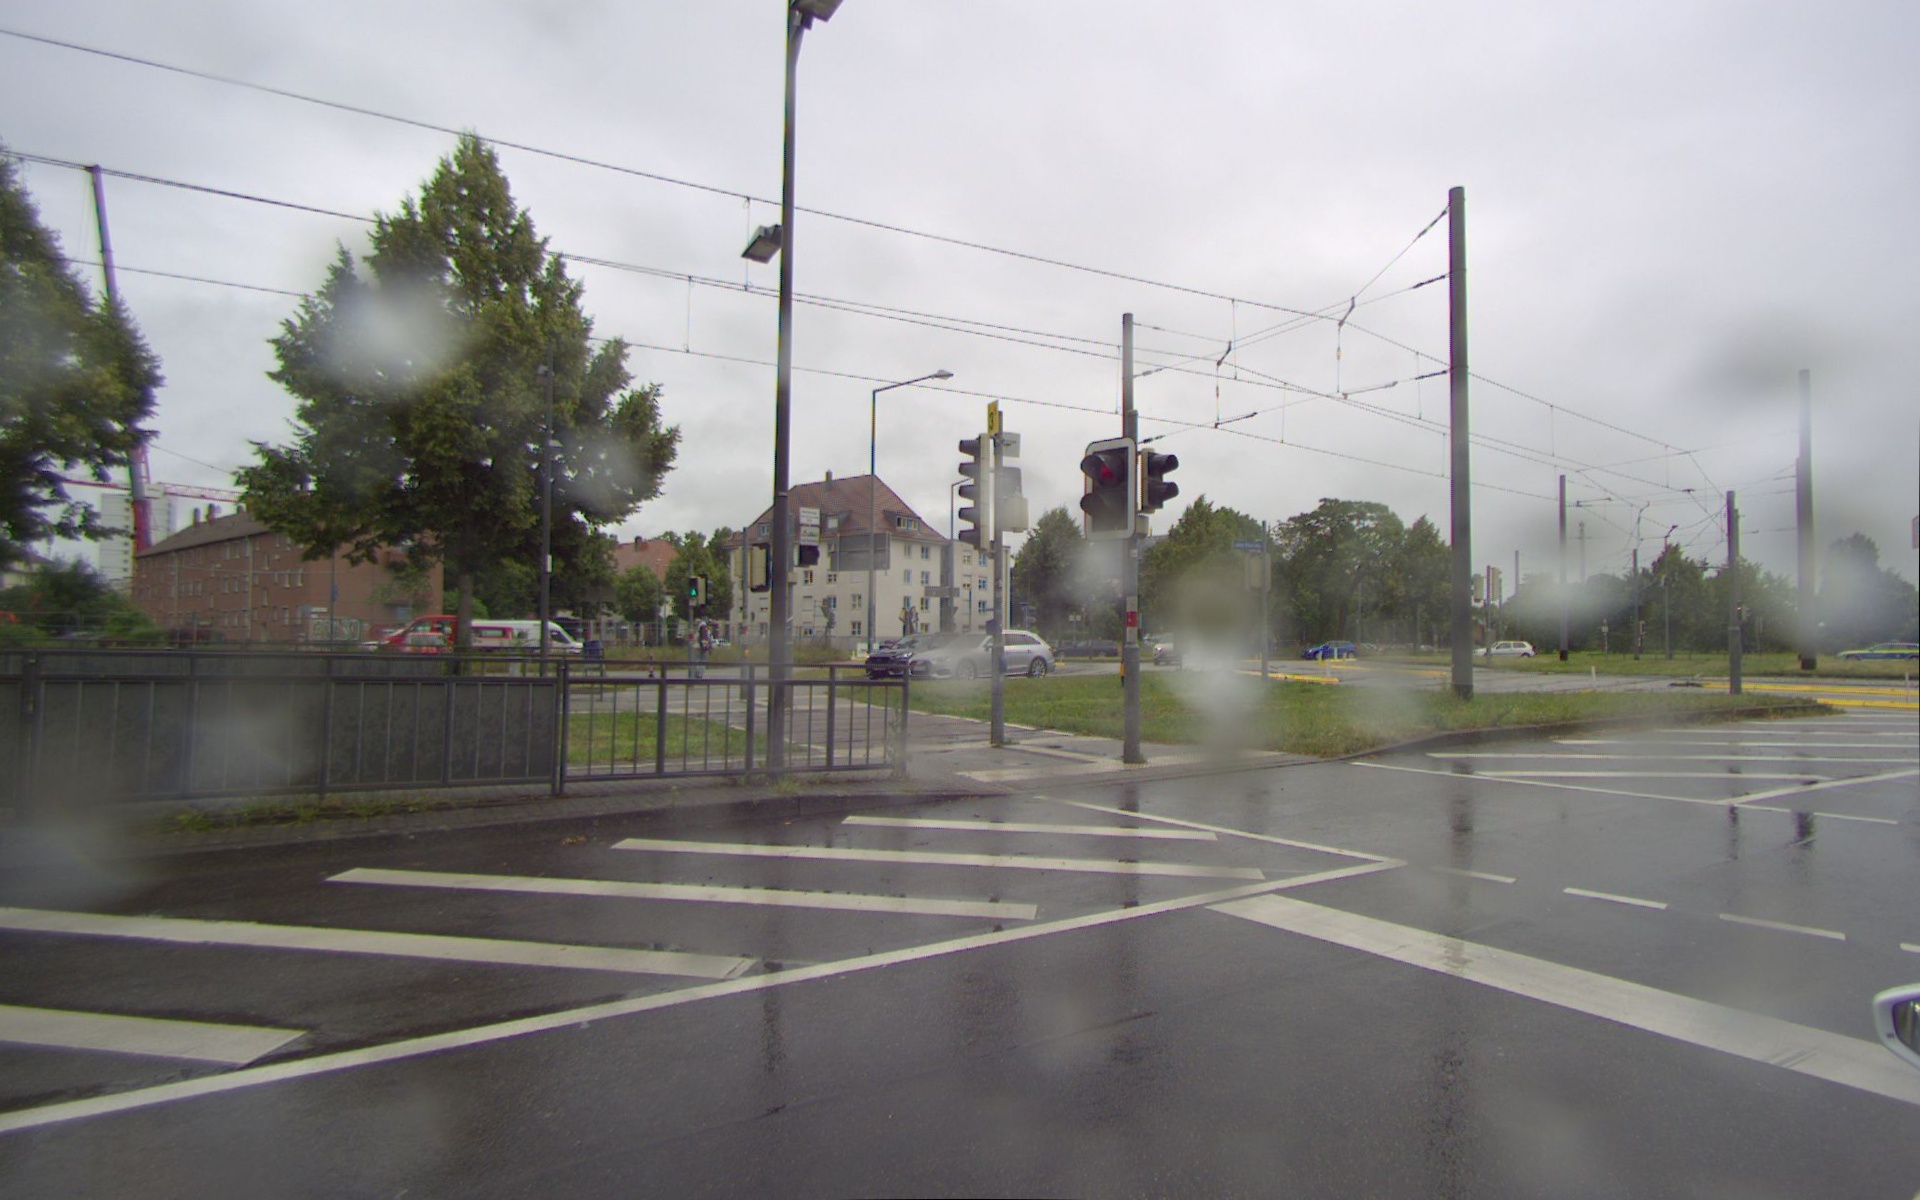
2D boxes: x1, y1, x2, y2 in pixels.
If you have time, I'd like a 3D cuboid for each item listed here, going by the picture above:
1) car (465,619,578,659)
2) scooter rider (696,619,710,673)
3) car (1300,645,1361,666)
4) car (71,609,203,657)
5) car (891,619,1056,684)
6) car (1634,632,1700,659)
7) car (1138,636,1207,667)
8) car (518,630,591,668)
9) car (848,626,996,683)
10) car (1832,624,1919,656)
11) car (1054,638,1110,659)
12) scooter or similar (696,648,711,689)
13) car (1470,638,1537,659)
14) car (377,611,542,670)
[{"bbox_3d":[-25.935,2.331,59.624,6.004,2.308,1.617,1,-2,-18],"label":"car"},{"bbox_3d":[-8.293,1.498,32.446,0.427,1.731,0.531,0,-3,-13],"label":"scooter rider"},{"bbox_3d":[27.245,4.096,73.898,3.910,1.473,1.623,0,-2,-2],"label":"car"},{"bbox_3d":[-45.420,1.838,55.610,5.441,2.485,1.980,3,0,-36],"label":"car"},{"bbox_3d":[0.433,1.367,27.399,4.371,1.649,1.975,2,-2,-42],"label":"car"},{"bbox_3d":[54.869,3.539,78.030,3.921,1.840,1.681,2,0,-1],"label":"car"},{"bbox_3d":[10.398,2.479,48.977,1.599,1.473,4.095,-1,-2,39],"label":"car"},{"bbox_3d":[-44.782,5.352,110.822,10.793,3.770,2.447,0,-2,39],"label":"car"},{"bbox_3d":[-1.130,1.648,31.157,4.371,1.649,1.975,2,-2,-42],"label":"car"},{"bbox_3d":[56.714,2.424,61.483,1.982,1.875,4.724,2,-2,-38],"label":"car"},{"bbox_3d":[8.774,3.454,72.208,3.906,1.473,1.625,0,-2,7],"label":"car"},{"bbox_3d":[-8.275,2.205,32.405,0.440,1.276,1.587,0,-2,-13],"label":"scooter or similar"},{"bbox_3d":[38.610,3.449,71.492,3.907,1.473,1.624,0,-2,15],"label":"car"},{"bbox_3d":[-22.230,1.800,44.898,6.389,2.502,1.616,1,-2,-20],"label":"car"}]
